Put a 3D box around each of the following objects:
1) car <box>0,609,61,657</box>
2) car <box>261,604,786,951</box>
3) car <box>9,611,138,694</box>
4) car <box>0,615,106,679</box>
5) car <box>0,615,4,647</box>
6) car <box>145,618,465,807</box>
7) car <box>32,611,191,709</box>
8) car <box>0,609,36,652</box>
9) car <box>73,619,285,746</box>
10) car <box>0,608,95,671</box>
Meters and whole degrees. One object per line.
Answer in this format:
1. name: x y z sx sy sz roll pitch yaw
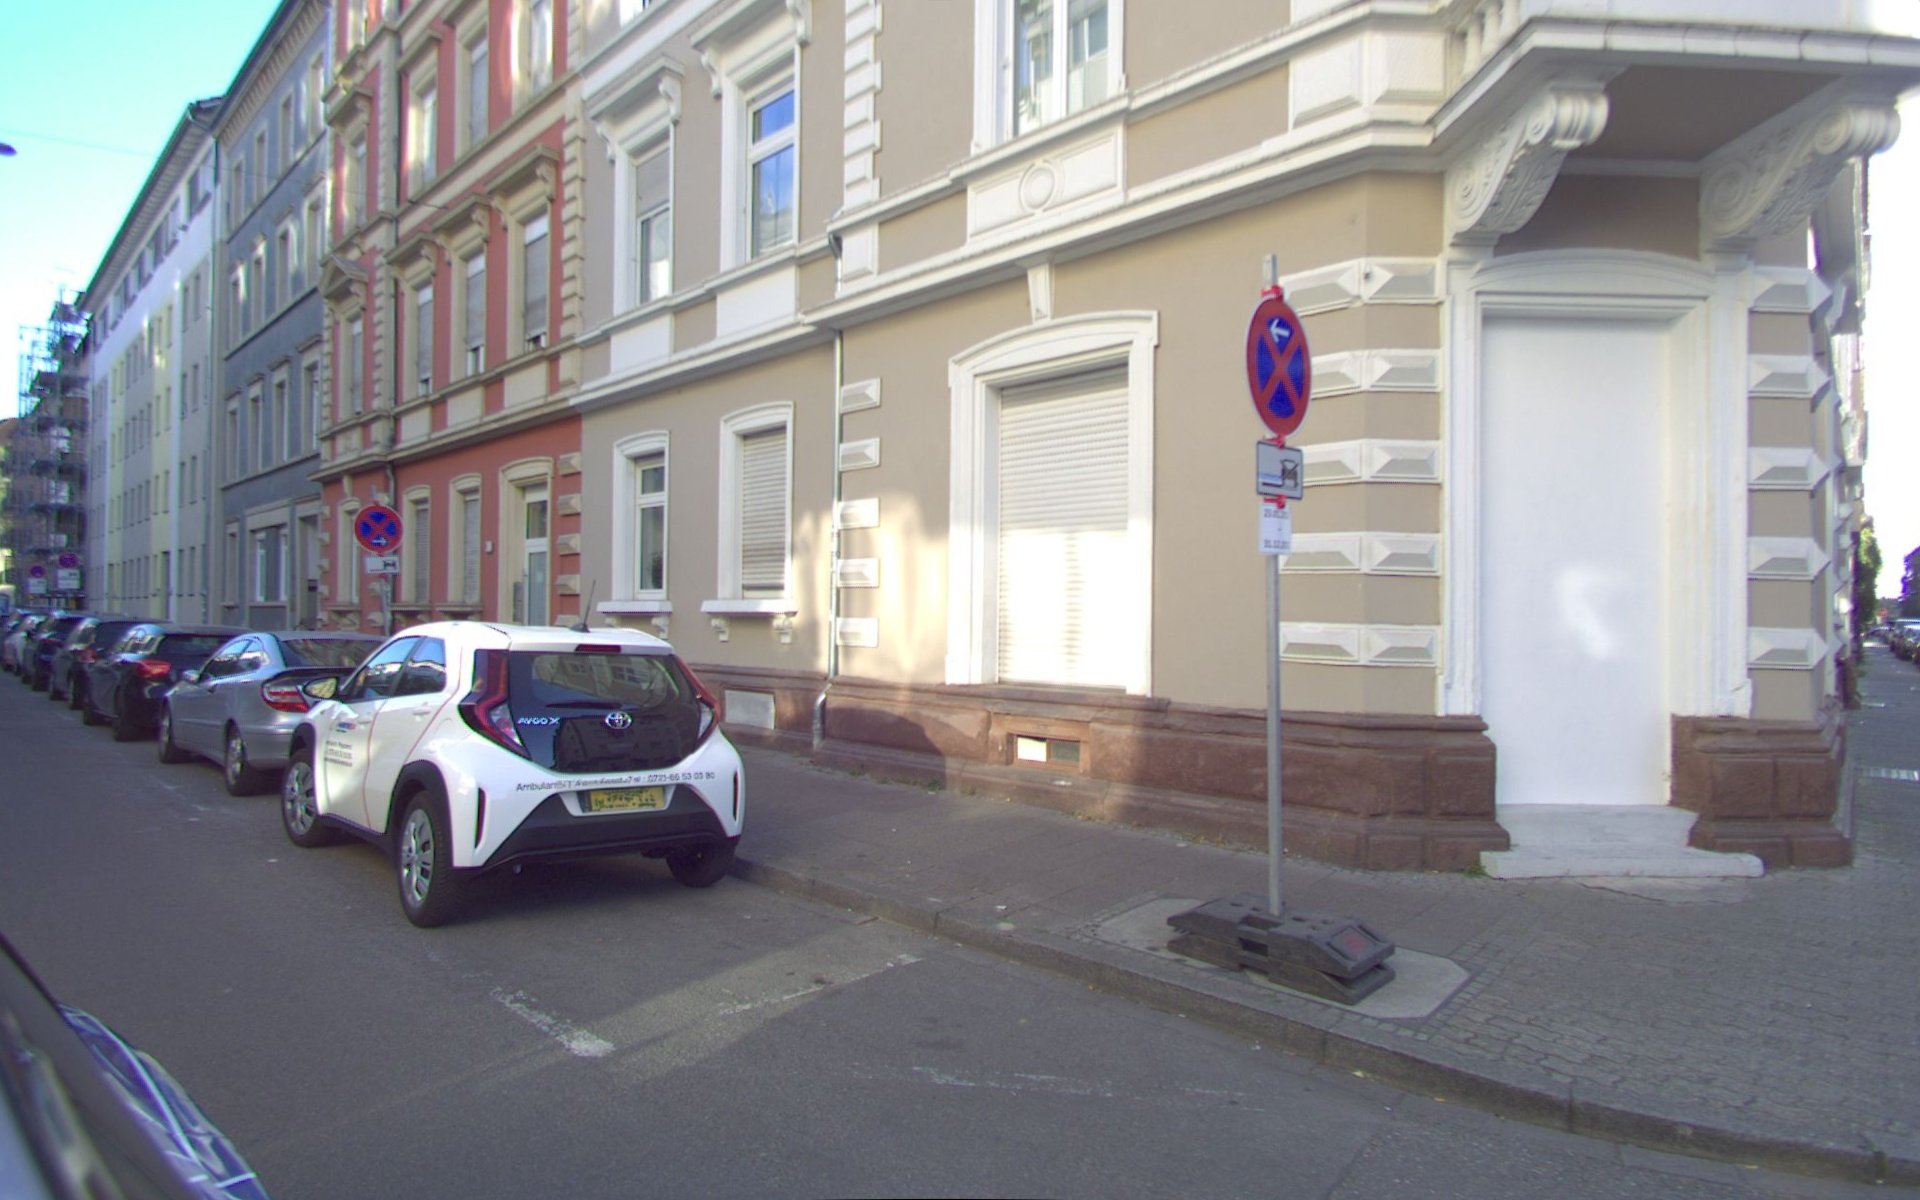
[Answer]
1. car: -33.535 1.124 35.909 4.493 1.597 1.972 0 -1 42
2. car: -2.942 0.841 6.384 1.665 1.507 3.846 6 -5 -45
3. car: -18.601 1.009 21.166 4.430 1.534 1.576 0 -1 43
4. car: -22.839 1.120 25.324 4.352 1.440 1.640 0 -1 42
5. car: -51.636 1.606 52.962 4.493 1.597 1.972 0 -1 42
6. car: -6.488 0.949 9.857 3.962 1.439 1.592 0 -4 42
7. car: -14.937 0.987 17.747 4.195 1.510 1.517 0 -3 42
8. car: -37.117 1.151 38.960 4.150 1.587 1.971 -1 -1 44
9. car: -10.503 1.032 13.510 3.913 1.426 1.567 -1 -5 44
10. car: -26.422 1.066 28.987 4.493 1.662 1.972 0 -1 42
